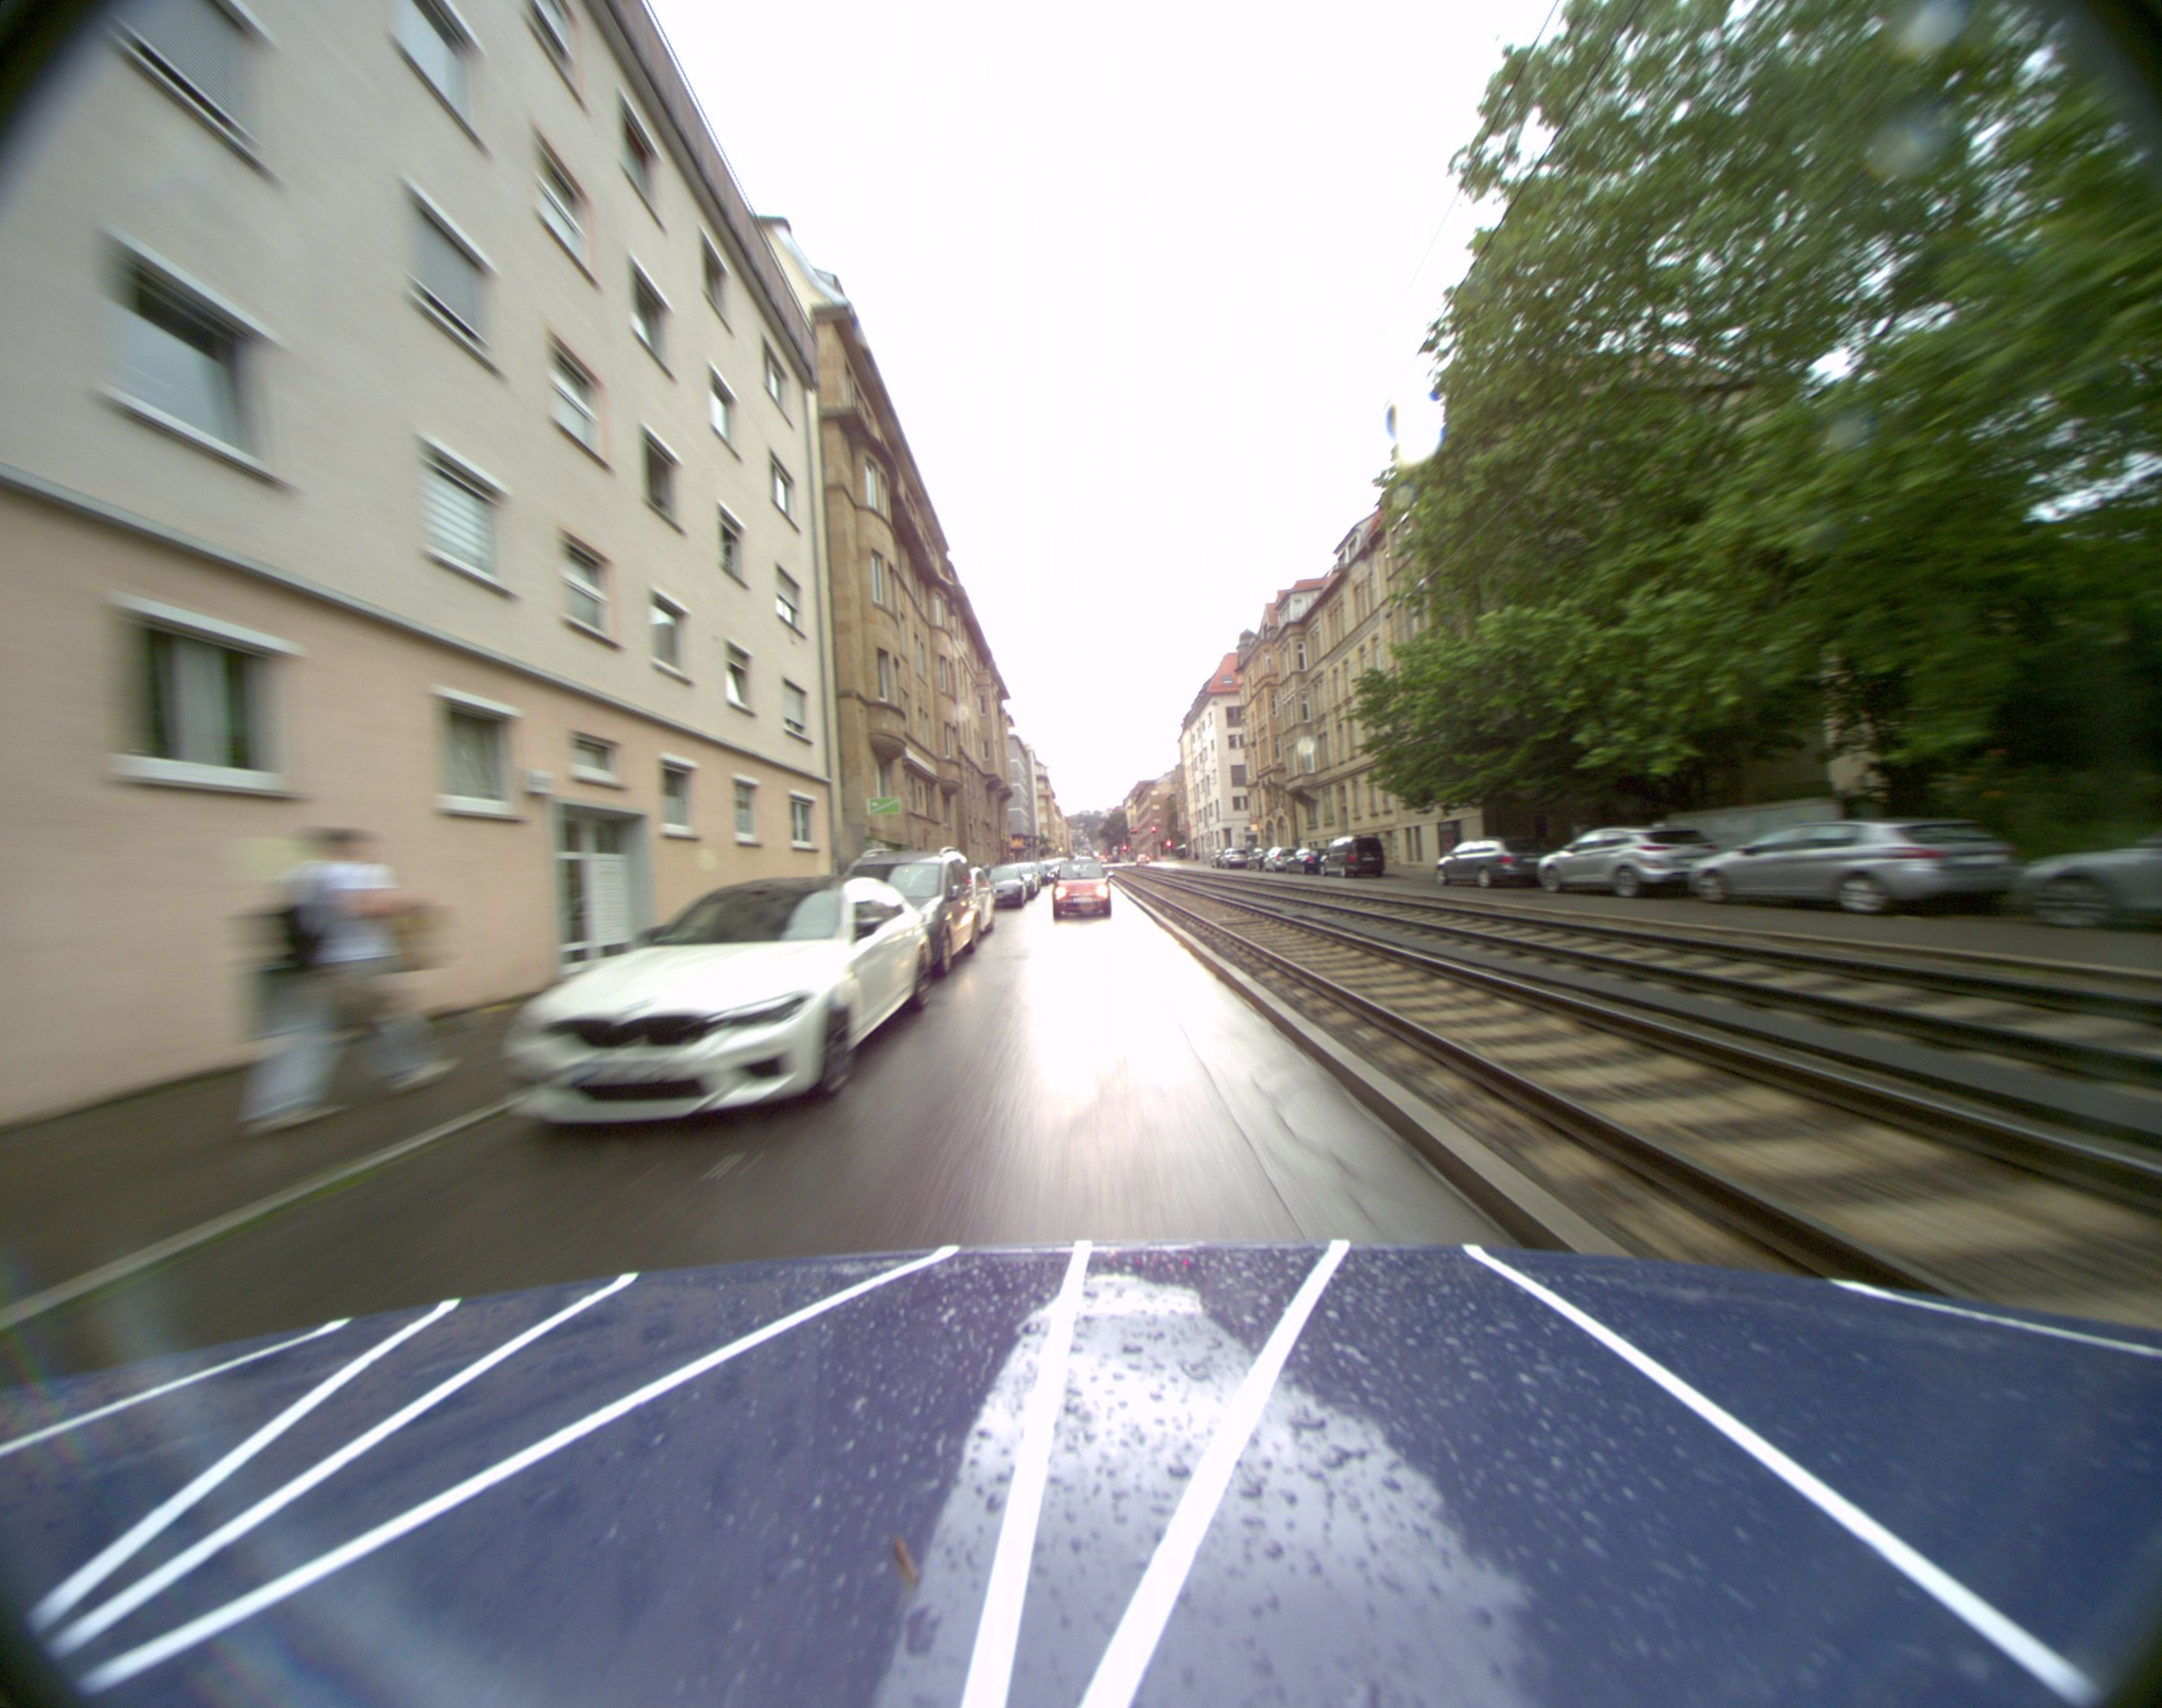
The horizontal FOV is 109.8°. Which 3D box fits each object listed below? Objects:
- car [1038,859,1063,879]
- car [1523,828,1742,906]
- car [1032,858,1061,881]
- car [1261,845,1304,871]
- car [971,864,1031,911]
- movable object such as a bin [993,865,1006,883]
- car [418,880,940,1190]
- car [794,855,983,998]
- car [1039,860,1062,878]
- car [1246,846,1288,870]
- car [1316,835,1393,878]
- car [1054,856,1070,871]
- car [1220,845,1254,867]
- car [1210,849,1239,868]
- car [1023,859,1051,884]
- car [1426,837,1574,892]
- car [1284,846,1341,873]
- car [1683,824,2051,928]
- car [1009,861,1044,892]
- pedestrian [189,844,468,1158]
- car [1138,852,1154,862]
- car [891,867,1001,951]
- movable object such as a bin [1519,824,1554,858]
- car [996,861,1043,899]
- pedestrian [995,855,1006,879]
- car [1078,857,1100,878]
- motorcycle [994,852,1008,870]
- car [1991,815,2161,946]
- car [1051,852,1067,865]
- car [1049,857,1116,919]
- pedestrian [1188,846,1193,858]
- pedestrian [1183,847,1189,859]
[{"bbox_3d":[-2.280,1.100,57.531,1.711,1.390,4.018,-3,0,-1],"label":"car"},{"bbox_3d":[12.386,0.270,17.515,1.758,1.527,4.543,-1,0,0],"label":"car"},{"bbox_3d":[-2.365,1.058,52.462,1.792,1.453,4.083,-3,0,-1],"label":"car"},{"bbox_3d":[12.599,0.270,47.767,1.699,1.515,3.855,-2,0,1],"label":"car"},{"bbox_3d":[-2.740,1.110,26.709,1.674,1.402,4.311,-2,0,-1],"label":"car"},{"bbox_3d":[-5.273,1.307,49.245,0.667,1.096,1.124,-3,0,0],"label":"movable object such as a bin"},{"bbox_3d":[-2.618,1.059,6.554,1.876,1.447,4.902,-3,0,-1],"label":"car"},{"bbox_3d":[-2.700,0.921,11.691,1.795,1.755,4.212,-2,0,0],"label":"car"},{"bbox_3d":[-2.523,1.204,62.559,1.759,1.379,4.484,-1,0,-3],"label":"car"},{"bbox_3d":[12.865,0.253,52.875,1.875,1.499,4.169,-2,0,0],"label":"car"},{"bbox_3d":[12.582,0.107,35.297,1.805,1.836,4.818,-2,0,0],"label":"car"},{"bbox_3d":[-2.324,1.123,94.943,1.797,1.750,4.566,-3,0,0],"label":"car"},{"bbox_3d":[12.861,0.158,62.904,1.863,1.643,4.315,-3,0,-1],"label":"car"},{"bbox_3d":[12.788,0.412,68.102,1.863,1.592,4.430,-2,0,2],"label":"car"},{"bbox_3d":[-2.708,1.053,47.756,1.548,1.406,3.446,-3,0,-1],"label":"car"},{"bbox_3d":[12.434,0.291,22.944,1.854,1.455,4.550,-1,0,-1],"label":"car"},{"bbox_3d":[12.678,0.303,41.831,1.767,1.390,4.269,-2,0,-1],"label":"car"},{"bbox_3d":[12.467,0.303,12.536,1.758,1.405,4.153,-1,0,0],"label":"car"},{"bbox_3d":[-2.706,1.084,38.407,1.594,1.426,3.683,-2,0,-2],"label":"car"},{"bbox_3d":[-4.794,0.861,4.937,0.747,1.823,1.039,0,0,2],"label":"pedestrian"},{"bbox_3d":[10.154,0.442,118.871,1.986,1.448,4.294,-2,0,-1],"label":"car"},{"bbox_3d":[-2.736,1.074,16.126,1.574,1.453,3.599,-2,0,1],"label":"car"},{"bbox_3d":[15.910,-0.447,26.540,0.718,1.114,0.773,-4,0,2],"label":"movable object such as a bin"},{"bbox_3d":[-2.581,1.080,32.578,1.672,1.426,3.956,-2,0,-1],"label":"car"},{"bbox_3d":[-5.323,0.863,50.147,0.562,1.526,0.710,-3,0,0],"label":"pedestrian"},{"bbox_3d":[0.790,1.325,78.332,2.135,2.002,4.328,-3,0,1],"label":"car"},{"bbox_3d":[-5.835,0.498,55.595,0.707,1.192,2.746,-3,0,1],"label":"motorcycle"},{"bbox_3d":[12.395,0.268,7.723,1.543,1.405,3.952,-1,0,0],"label":"car"},{"bbox_3d":[-2.582,0.510,90.202,1.696,1.474,3.928,-1,0,-4],"label":"car"},{"bbox_3d":[0.038,0.892,21.772,1.683,1.531,4.018,-2,0,0],"label":"car"},{"bbox_3d":[16.000,-0.251,110.931,0.603,1.708,0.658,-6,0,3],"label":"pedestrian"},{"bbox_3d":[15.302,-0.175,110.966,0.603,1.708,0.746,-6,0,3],"label":"pedestrian"}]
